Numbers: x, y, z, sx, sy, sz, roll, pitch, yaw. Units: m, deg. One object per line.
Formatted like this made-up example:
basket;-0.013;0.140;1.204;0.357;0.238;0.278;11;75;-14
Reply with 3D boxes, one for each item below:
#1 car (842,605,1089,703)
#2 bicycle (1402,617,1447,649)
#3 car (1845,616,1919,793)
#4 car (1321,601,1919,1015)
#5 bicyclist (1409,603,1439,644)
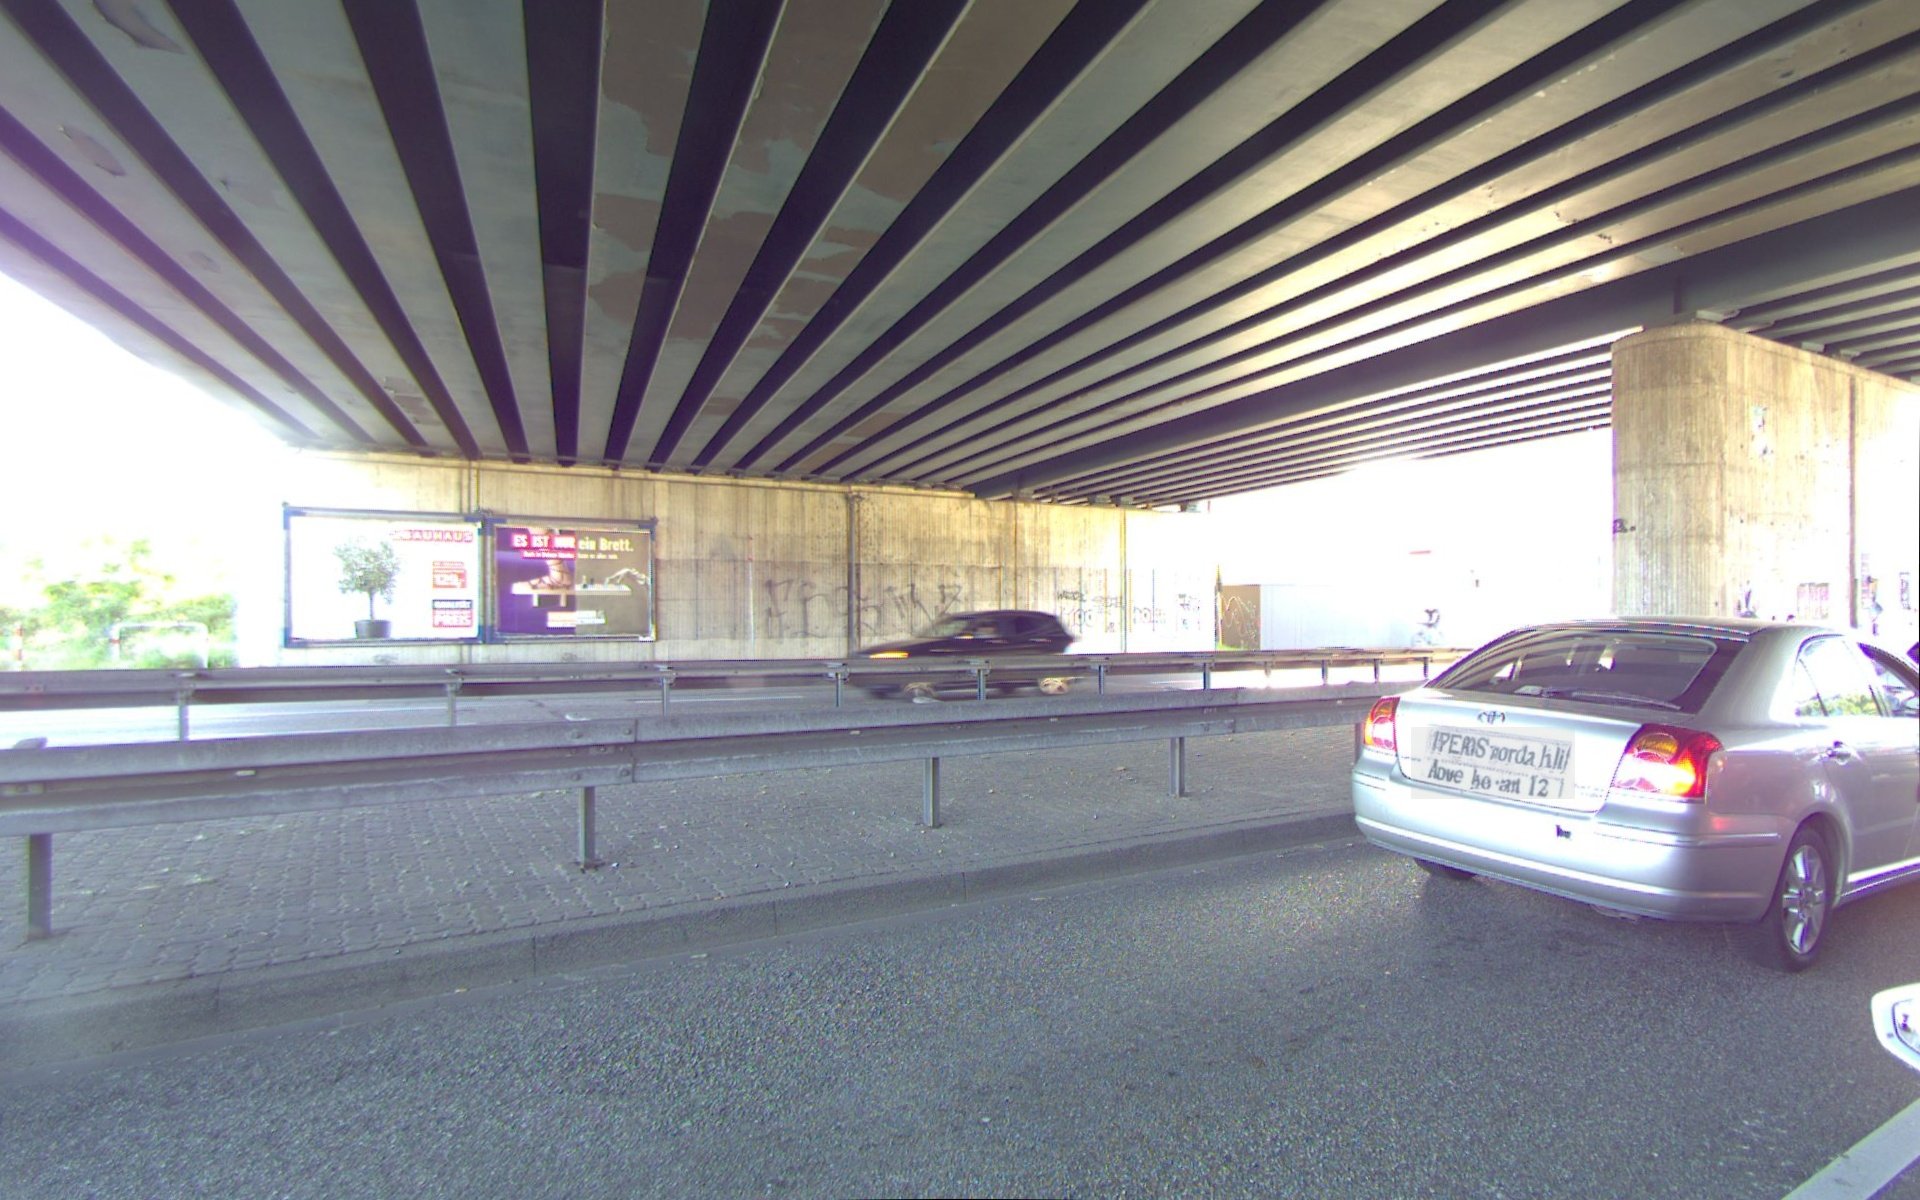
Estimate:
car;0.141;0.974;18.744;4.314;1.638;1.842;1;-2;-31
bicycle;17.901;1.286;38.694;1.856;1.181;0.631;2;0;-30
car;9.623;0.895;8.869;3.770;1.429;1.683;1;0;-32
car;4.121;0.789;5.479;4.347;1.474;1.688;1;0;-31
bicyclist;17.851;0.918;38.647;0.827;1.545;0.624;2;0;-30
